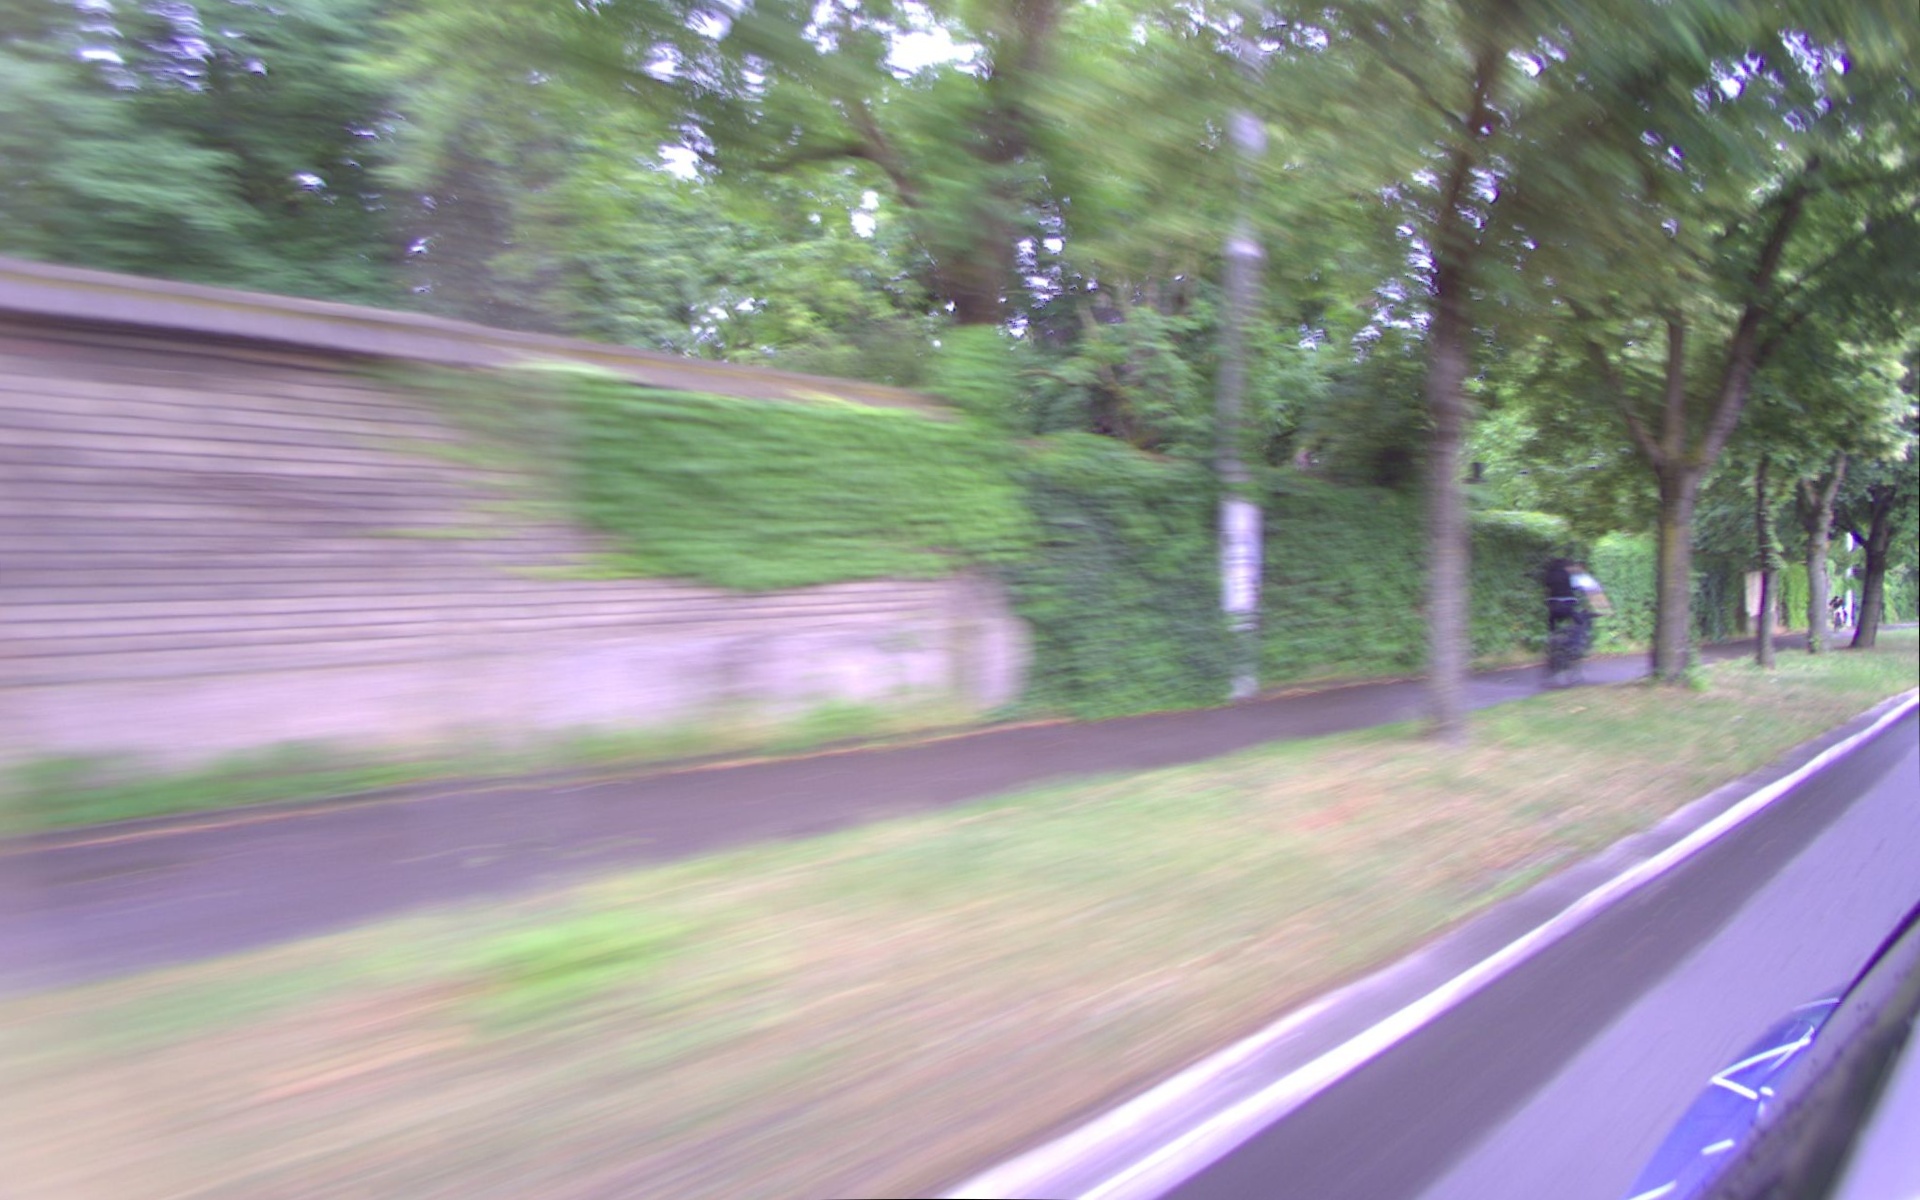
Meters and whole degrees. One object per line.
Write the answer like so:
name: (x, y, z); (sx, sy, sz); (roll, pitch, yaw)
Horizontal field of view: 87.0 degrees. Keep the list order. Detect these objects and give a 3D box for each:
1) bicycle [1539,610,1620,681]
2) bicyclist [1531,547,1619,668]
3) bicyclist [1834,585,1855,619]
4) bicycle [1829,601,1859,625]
bicycle: (8.841, 0.621, 14.401); (2.063, 0.913, 0.408); (0, 2, -42)
bicyclist: (8.644, 0.088, 14.226); (0.981, 1.636, 0.764); (1, 1, -42)
bicyclist: (37.361, 0.062, 42.752); (0.654, 1.406, 0.536); (1, 2, -40)
bicycle: (37.350, 0.528, 42.746); (2.504, 0.960, 0.544); (0, 2, -40)
